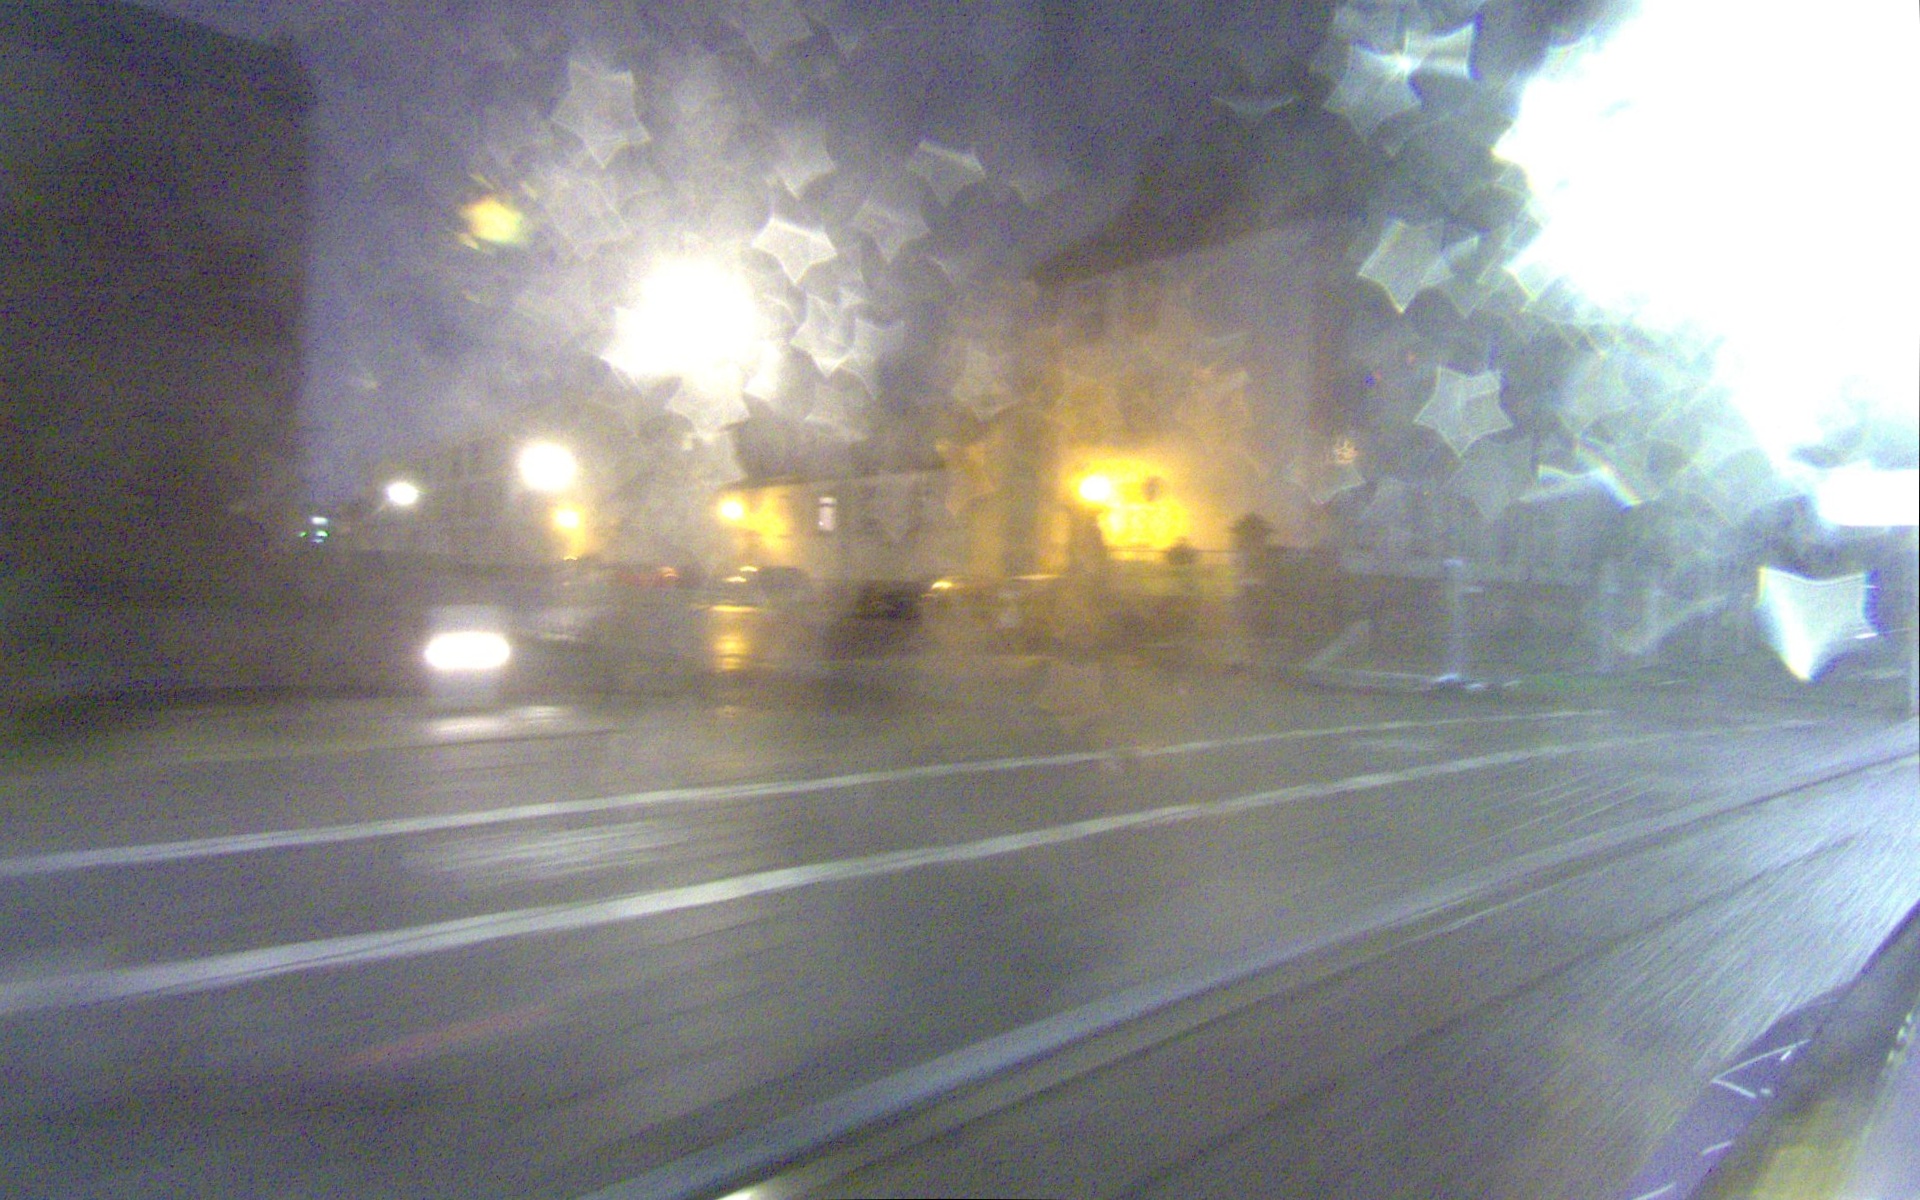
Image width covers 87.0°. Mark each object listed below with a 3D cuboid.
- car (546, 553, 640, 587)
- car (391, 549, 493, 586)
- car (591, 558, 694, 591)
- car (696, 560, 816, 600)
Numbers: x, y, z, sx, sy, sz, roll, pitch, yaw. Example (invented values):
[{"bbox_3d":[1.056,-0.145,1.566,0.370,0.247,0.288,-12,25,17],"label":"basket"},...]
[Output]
[{"bbox_3d":[-19.871,-1.602,54.892,4.501,1.709,1.753,0,2,-38],"label":"car"},{"bbox_3d":[-22.718,-1.412,44.420,3.724,1.527,1.753,0,2,-39],"label":"car"},{"bbox_3d":[-15.621,-1.245,49.931,4.500,1.527,1.753,0,2,-38],"label":"car"},{"bbox_3d":[-8.277,-0.786,41.241,4.503,1.527,1.752,0,2,-40],"label":"car"}]
